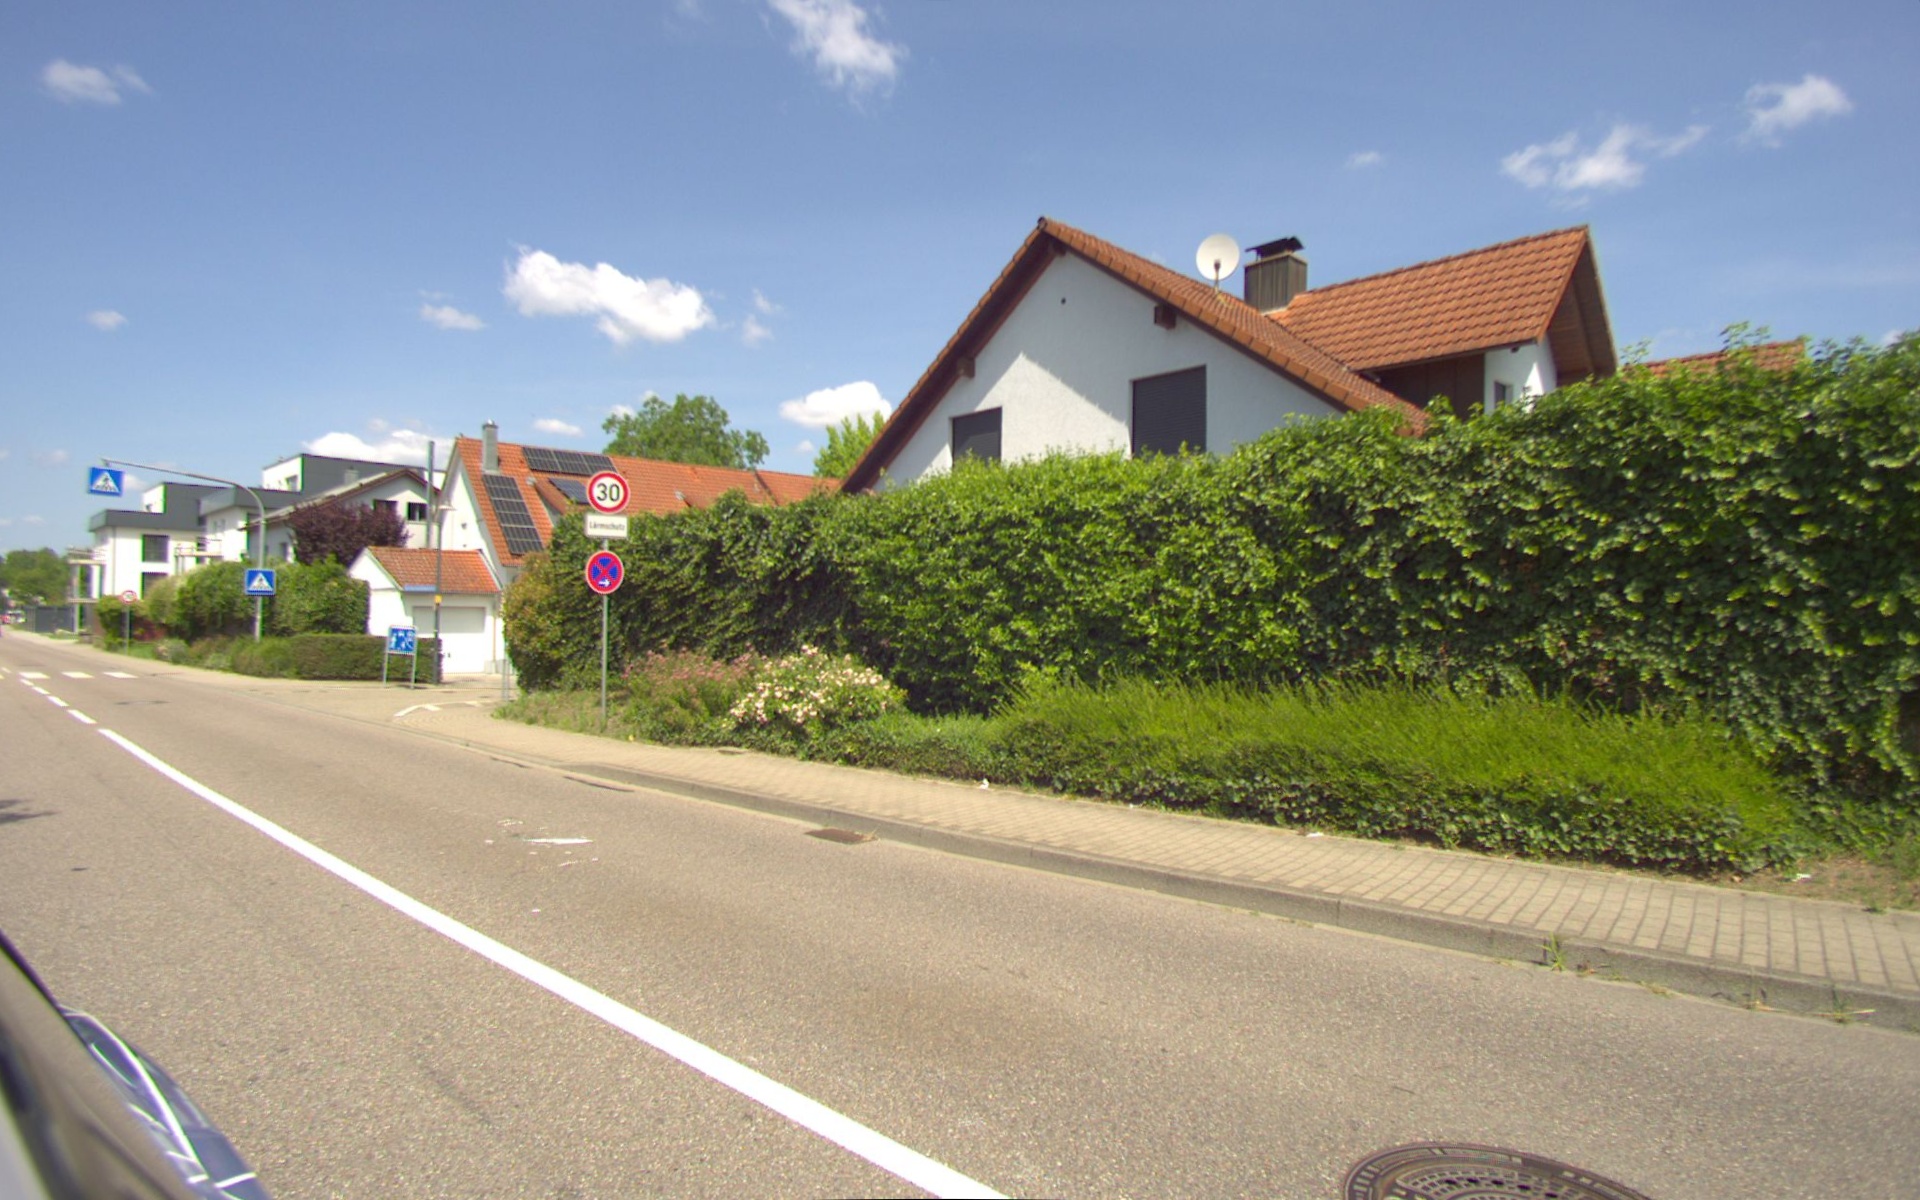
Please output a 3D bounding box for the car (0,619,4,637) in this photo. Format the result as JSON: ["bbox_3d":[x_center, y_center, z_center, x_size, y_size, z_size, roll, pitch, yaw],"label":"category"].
[{"bbox_3d":[-80.634,2.322,83.872,3.614,1.500,1.774,-1,-4,44],"label":"car"}]
